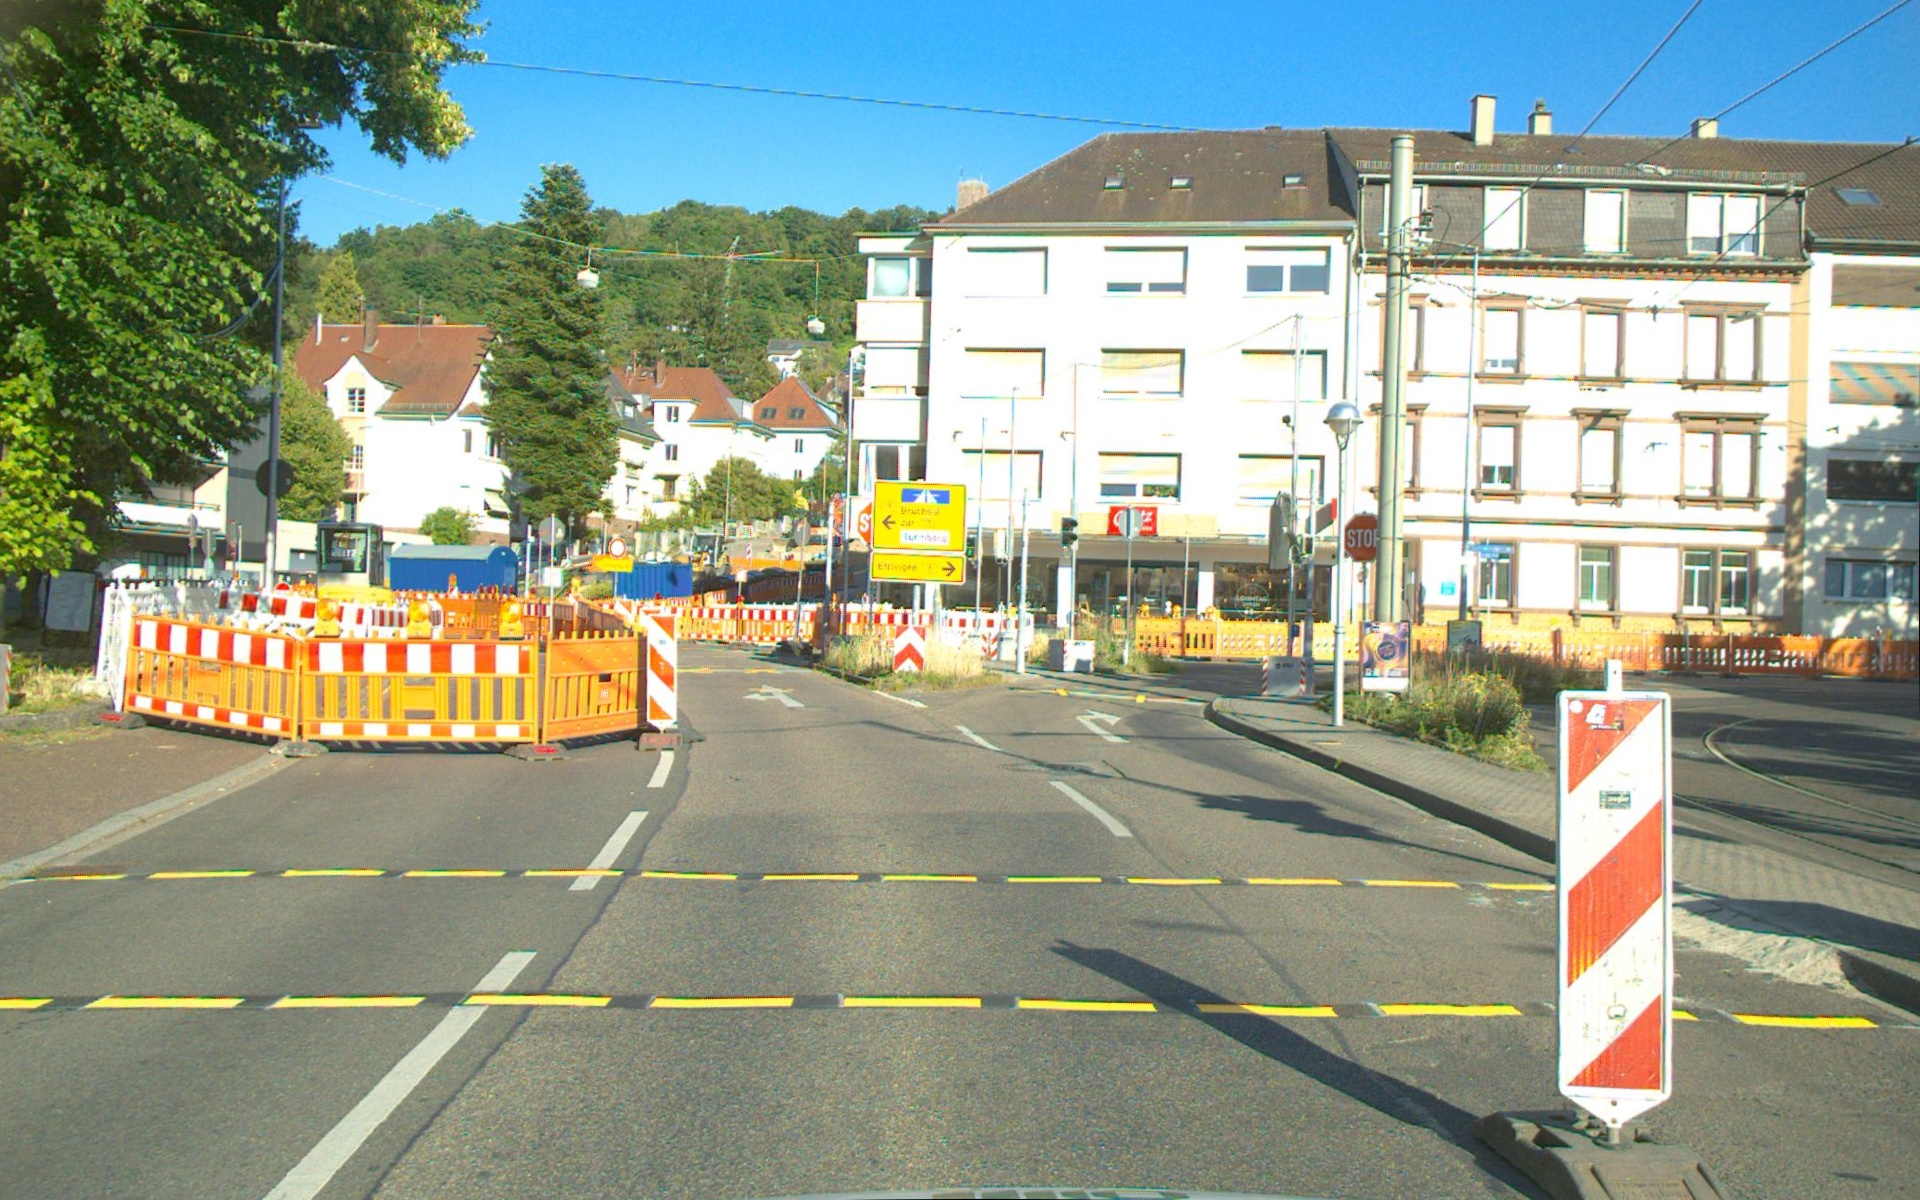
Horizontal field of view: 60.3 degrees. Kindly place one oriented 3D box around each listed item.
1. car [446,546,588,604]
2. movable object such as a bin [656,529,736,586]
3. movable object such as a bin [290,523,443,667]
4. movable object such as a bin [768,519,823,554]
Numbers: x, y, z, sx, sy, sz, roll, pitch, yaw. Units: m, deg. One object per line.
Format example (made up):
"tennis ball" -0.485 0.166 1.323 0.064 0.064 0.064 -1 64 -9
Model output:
"car" -17.539 -0.943 65.896 2.529 2.158 6.154 1 0 17
"movable object such as a bin" -12.528 -2.004 78.790 1.907 2.538 4.554 1 0 17
"movable object such as a bin" -10.435 -0.095 29.342 1.615 2.365 3.916 1 0 -6
"movable object such as a bin" -11.368 -4.391 114.740 2.510 2.159 5.789 1 0 8
